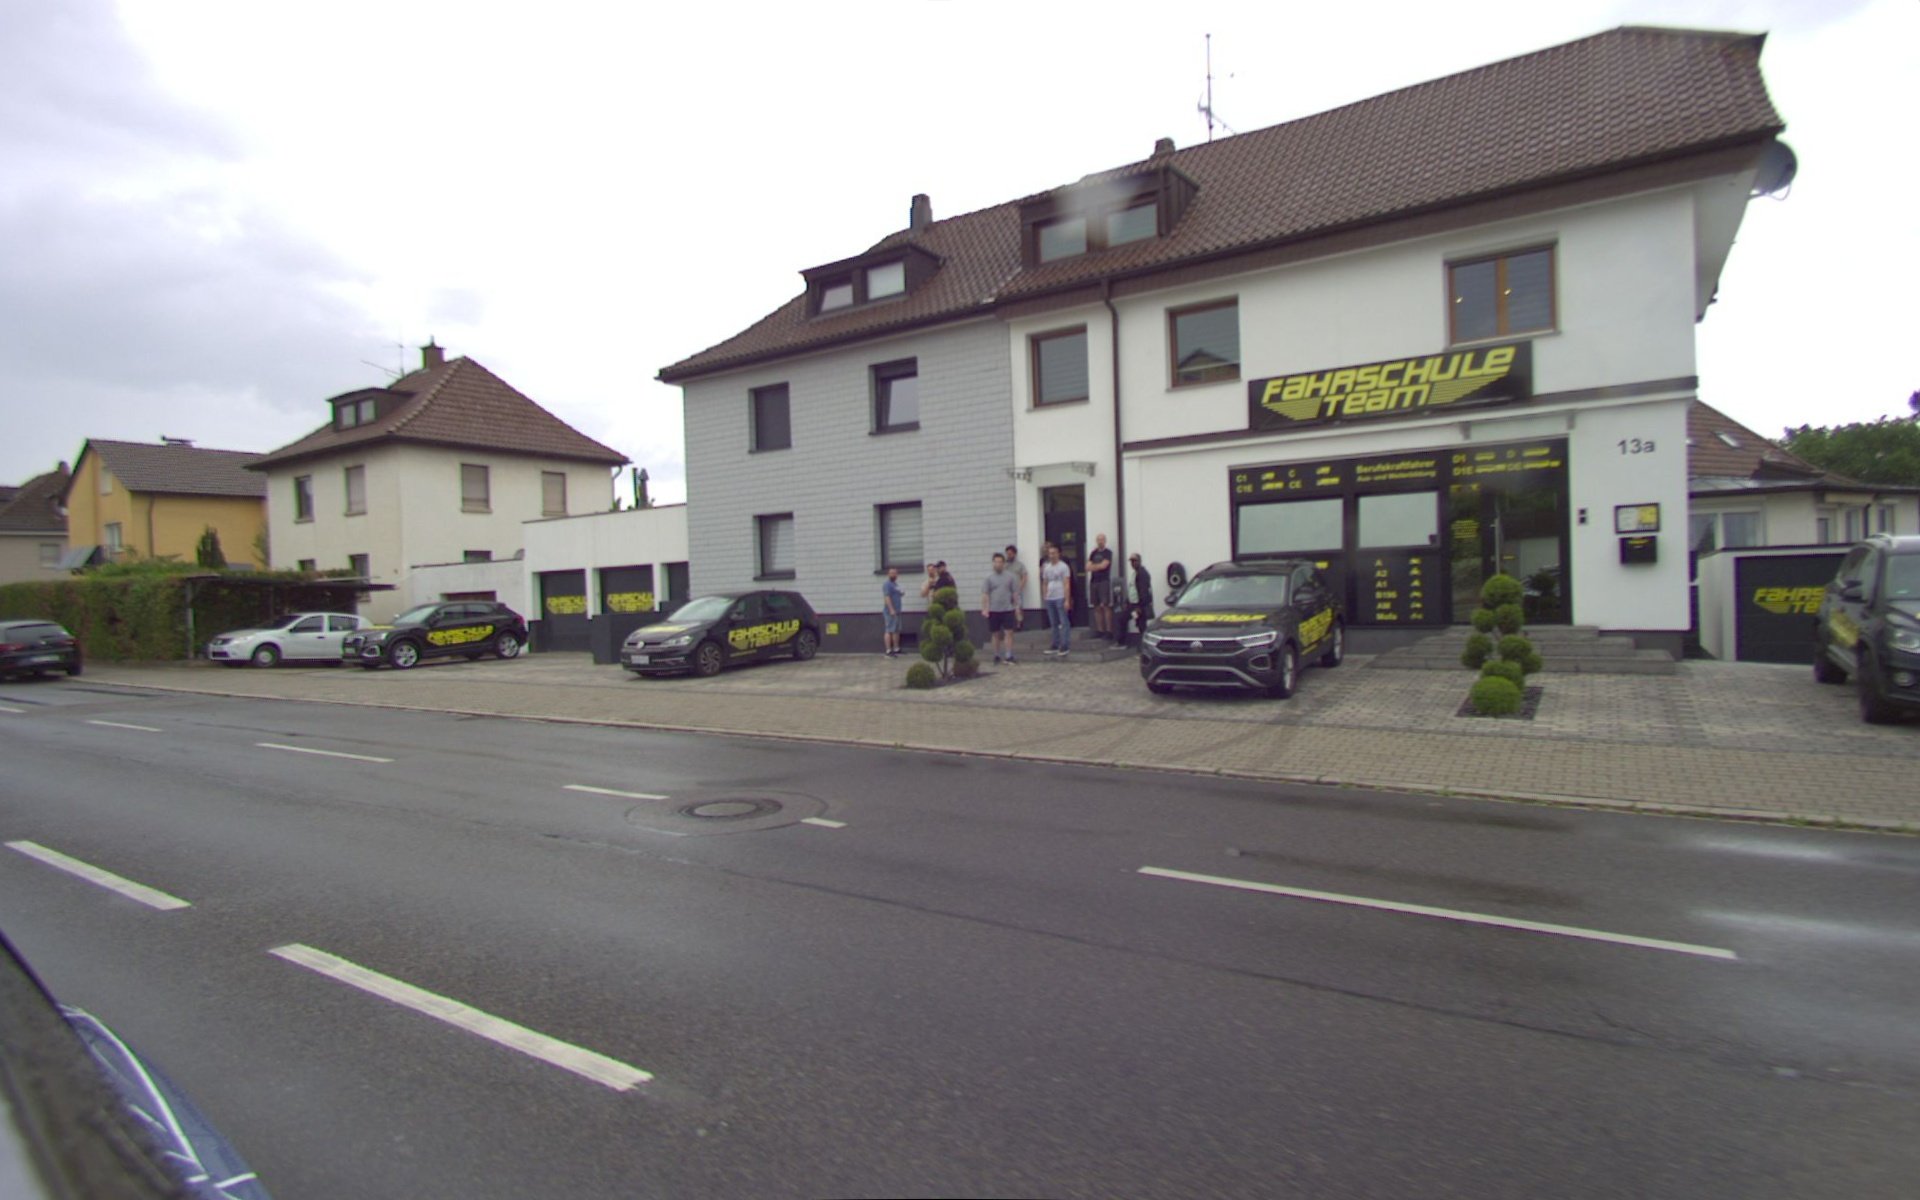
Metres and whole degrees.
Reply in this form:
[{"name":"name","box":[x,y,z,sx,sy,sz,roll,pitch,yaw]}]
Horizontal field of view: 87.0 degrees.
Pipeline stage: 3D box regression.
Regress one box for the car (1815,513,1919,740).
[{"name":"car","box":[9.419,0.085,9.473,1.735,1.733,4.146,-1,4,35]}]

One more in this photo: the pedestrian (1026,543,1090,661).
[{"name":"pedestrian","box":[1.620,0.027,16.747,0.686,1.880,0.725,-1,3,40]}]

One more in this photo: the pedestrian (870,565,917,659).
[{"name":"pedestrian","box":[-1.277,0.229,19.501,0.688,1.765,0.442,-1,3,35]}]

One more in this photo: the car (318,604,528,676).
[{"name":"car","box":[-12.896,0.906,24.512,1.879,1.430,4.065,-1,1,34]}]

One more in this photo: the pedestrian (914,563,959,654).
[{"name":"pedestrian","box":[-0.446,0.155,19.656,0.560,1.720,0.582,-1,3,32]}]

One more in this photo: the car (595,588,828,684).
[{"name":"car","box":[-4.507,0.592,18.864,1.879,1.430,3.954,-1,2,34]}]

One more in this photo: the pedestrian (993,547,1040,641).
[{"name":"pedestrian","box":[1.047,-0.107,18.621,0.574,1.682,0.578,-1,3,32]}]

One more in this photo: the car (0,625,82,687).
[{"name":"car","box":[-23.764,1.371,25.338,3.990,1.426,1.789,-1,-1,35]}]

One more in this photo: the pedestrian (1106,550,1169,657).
[{"name":"pedestrian","box":[2.921,0.047,16.632,0.664,1.682,0.693,-4,3,-26]}]

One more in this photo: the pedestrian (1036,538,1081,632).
[{"name":"pedestrian","box":[1.813,-0.277,18.557,0.549,1.682,0.569,-1,3,32]}]

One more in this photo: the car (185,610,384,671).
[{"name":"car","box":[-18.110,1.148,27.334,1.831,1.495,4.074,-2,-5,27]}]

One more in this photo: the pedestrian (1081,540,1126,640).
[{"name":"pedestrian","box":[2.487,-0.177,17.580,0.512,1.682,0.511,-1,3,40]}]

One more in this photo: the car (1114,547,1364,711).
[{"name":"car","box":[3.765,0.263,13.152,1.868,1.575,3.955,-2,4,35]}]

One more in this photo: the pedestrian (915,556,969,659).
[{"name":"pedestrian","box":[-0.329,0.135,18.489,0.643,1.800,0.649,-4,1,-32]}]

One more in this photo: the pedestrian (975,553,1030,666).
[{"name":"pedestrian","box":[0.707,0.147,16.806,0.539,1.801,0.662,-1,3,38]}]
